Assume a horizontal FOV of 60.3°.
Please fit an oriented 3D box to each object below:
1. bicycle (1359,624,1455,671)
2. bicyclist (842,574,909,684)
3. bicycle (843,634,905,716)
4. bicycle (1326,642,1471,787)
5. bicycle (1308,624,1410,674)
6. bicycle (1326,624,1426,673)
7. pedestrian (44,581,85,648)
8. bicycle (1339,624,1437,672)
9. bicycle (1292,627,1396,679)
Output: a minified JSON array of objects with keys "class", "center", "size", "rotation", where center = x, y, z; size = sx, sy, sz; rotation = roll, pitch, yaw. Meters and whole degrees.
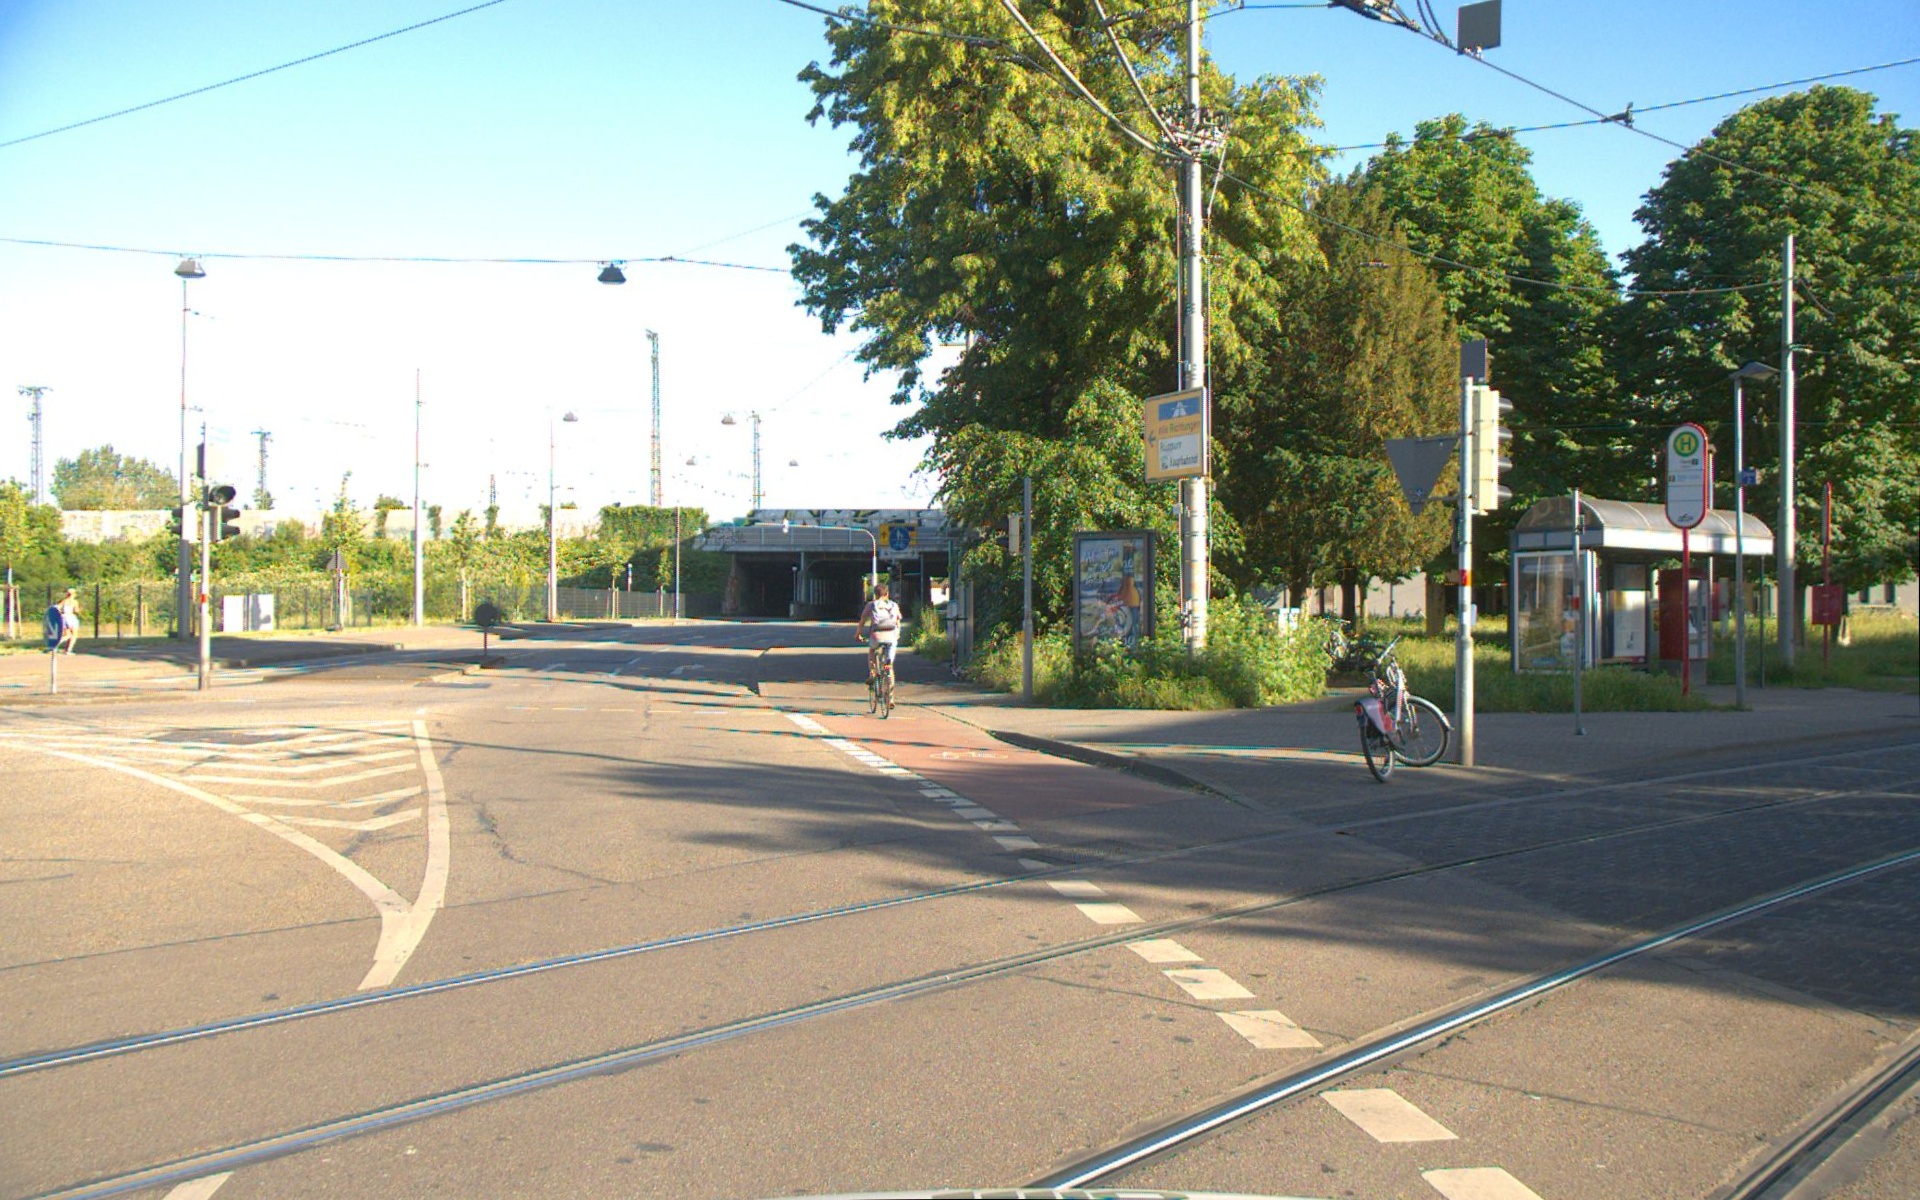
[{"class":"bicycle","center":[9.380,0.981,34.767],"size":[1.843,0.922,0.658],"rotation":[0,0,33]},{"class":"bicyclist","center":[-1.235,0.400,23.997],"size":[0.825,1.536,1.365],"rotation":[0,0,-10]},{"class":"bicycle","center":[-1.271,1.060,24.085],"size":[0.655,1.078,2.077],"rotation":[0,1,-10]},{"class":"bicycle","center":[3.795,0.937,14.209],"size":[0.809,1.078,1.880],"rotation":[0,1,28]},{"class":"bicycle","center":[7.839,0.950,32.489],"size":[1.843,0.922,0.658],"rotation":[0,0,33]},{"class":"bicycle","center":[8.339,0.960,33.212],"size":[1.843,0.922,0.658],"rotation":[0,0,33]},{"class":"pedestrian","center":[-22.121,0.357,40.873],"size":[0.587,1.624,0.685],"rotation":[2,0,0]},{"class":"bicycle","center":[8.812,0.969,34.061],"size":[1.843,0.922,0.658],"rotation":[0,0,33]},{"class":"bicycle","center":[7.337,1.002,31.640],"size":[1.843,0.922,0.658],"rotation":[0,0,33]}]
